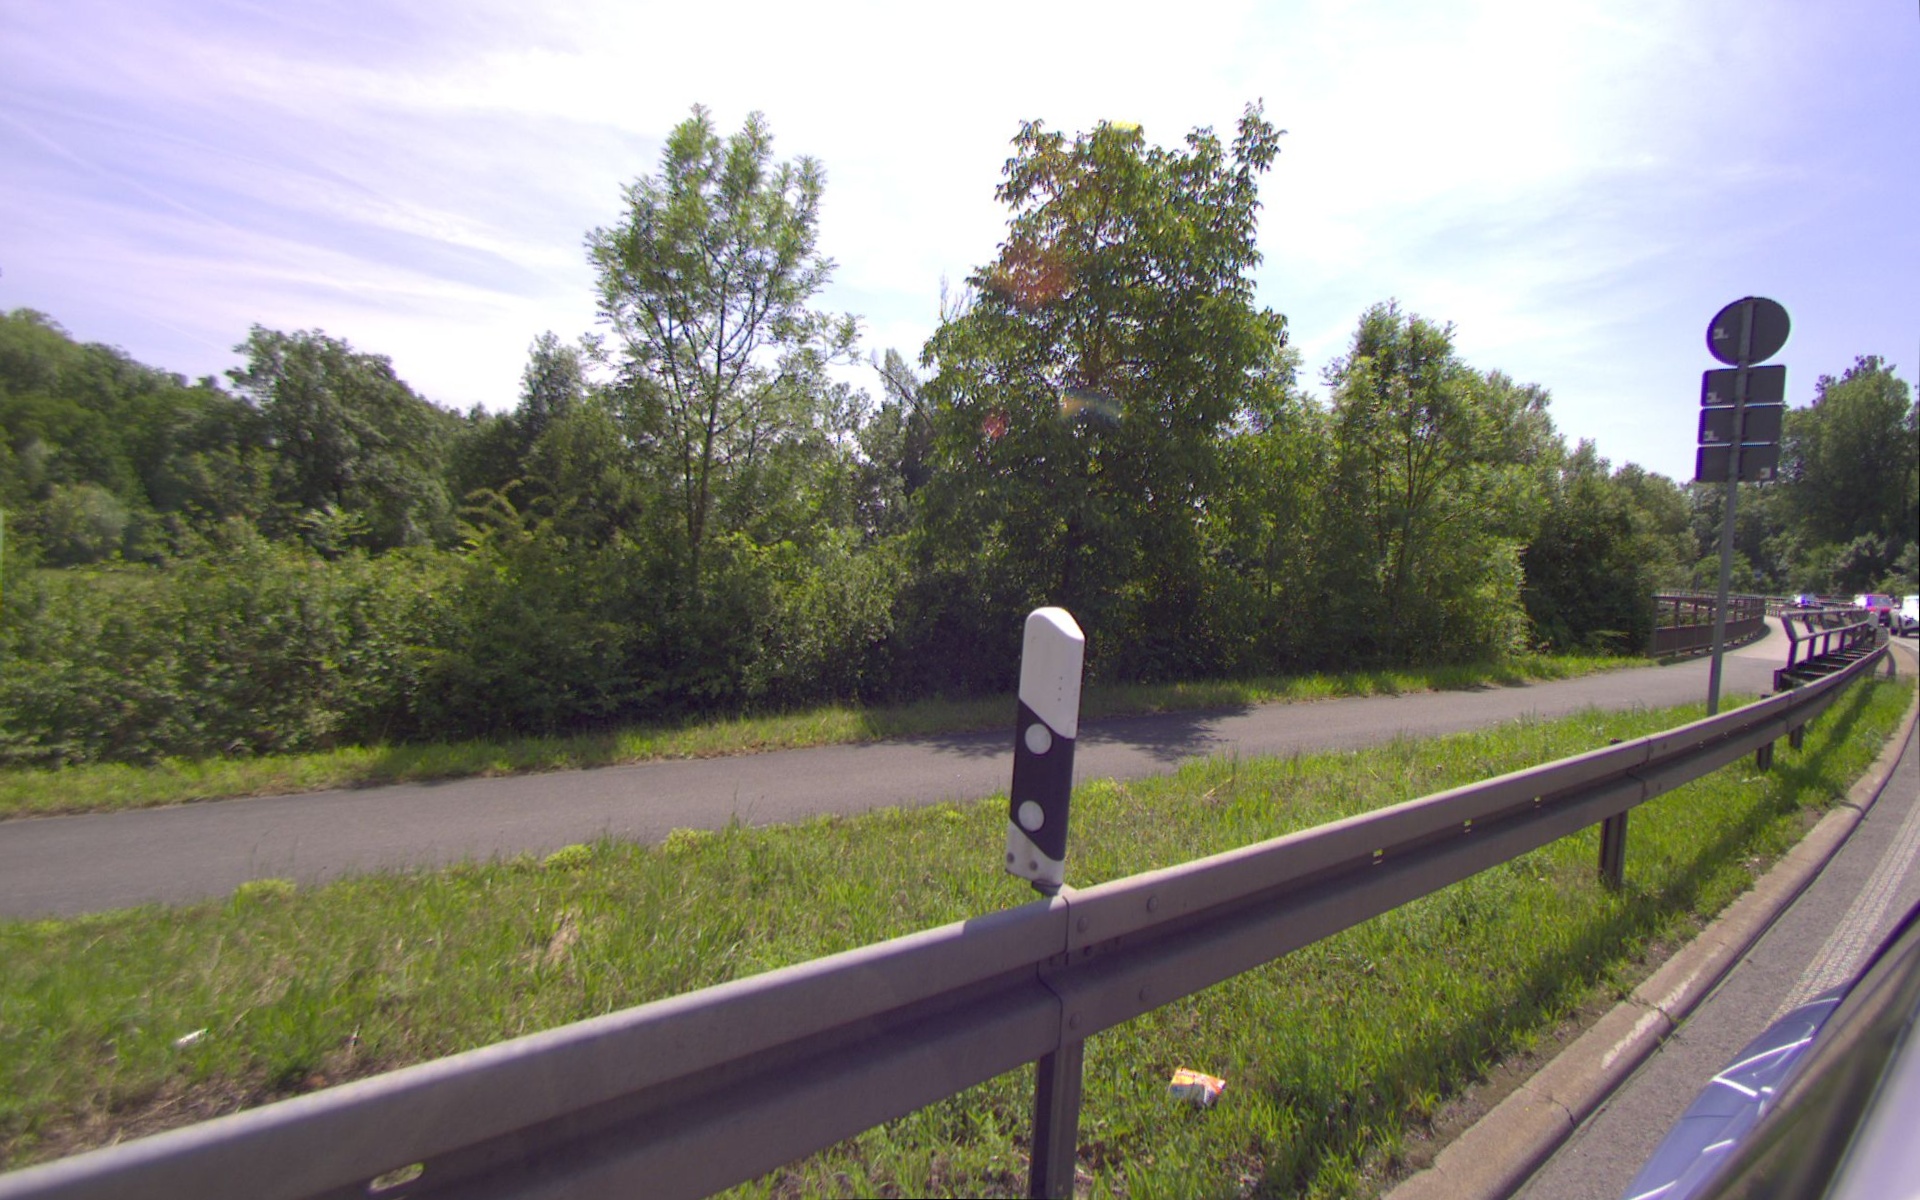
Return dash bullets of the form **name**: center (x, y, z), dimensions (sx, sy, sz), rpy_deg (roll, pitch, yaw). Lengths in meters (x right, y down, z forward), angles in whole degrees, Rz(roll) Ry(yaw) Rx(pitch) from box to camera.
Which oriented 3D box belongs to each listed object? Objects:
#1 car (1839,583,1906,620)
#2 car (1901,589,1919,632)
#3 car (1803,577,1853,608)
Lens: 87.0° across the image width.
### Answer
- **car**: center (47.188, 0.058, 52.433), dimensions (1.986, 1.798, 3.952), rpy_deg (1, 1, 34)
- **car**: center (38.583, 0.425, 39.820), dimensions (1.900, 1.668, 3.897), rpy_deg (1, 1, 37)
- **car**: center (60.143, -0.520, 70.196), dimensions (1.984, 2.039, 3.956), rpy_deg (0, 1, 31)
